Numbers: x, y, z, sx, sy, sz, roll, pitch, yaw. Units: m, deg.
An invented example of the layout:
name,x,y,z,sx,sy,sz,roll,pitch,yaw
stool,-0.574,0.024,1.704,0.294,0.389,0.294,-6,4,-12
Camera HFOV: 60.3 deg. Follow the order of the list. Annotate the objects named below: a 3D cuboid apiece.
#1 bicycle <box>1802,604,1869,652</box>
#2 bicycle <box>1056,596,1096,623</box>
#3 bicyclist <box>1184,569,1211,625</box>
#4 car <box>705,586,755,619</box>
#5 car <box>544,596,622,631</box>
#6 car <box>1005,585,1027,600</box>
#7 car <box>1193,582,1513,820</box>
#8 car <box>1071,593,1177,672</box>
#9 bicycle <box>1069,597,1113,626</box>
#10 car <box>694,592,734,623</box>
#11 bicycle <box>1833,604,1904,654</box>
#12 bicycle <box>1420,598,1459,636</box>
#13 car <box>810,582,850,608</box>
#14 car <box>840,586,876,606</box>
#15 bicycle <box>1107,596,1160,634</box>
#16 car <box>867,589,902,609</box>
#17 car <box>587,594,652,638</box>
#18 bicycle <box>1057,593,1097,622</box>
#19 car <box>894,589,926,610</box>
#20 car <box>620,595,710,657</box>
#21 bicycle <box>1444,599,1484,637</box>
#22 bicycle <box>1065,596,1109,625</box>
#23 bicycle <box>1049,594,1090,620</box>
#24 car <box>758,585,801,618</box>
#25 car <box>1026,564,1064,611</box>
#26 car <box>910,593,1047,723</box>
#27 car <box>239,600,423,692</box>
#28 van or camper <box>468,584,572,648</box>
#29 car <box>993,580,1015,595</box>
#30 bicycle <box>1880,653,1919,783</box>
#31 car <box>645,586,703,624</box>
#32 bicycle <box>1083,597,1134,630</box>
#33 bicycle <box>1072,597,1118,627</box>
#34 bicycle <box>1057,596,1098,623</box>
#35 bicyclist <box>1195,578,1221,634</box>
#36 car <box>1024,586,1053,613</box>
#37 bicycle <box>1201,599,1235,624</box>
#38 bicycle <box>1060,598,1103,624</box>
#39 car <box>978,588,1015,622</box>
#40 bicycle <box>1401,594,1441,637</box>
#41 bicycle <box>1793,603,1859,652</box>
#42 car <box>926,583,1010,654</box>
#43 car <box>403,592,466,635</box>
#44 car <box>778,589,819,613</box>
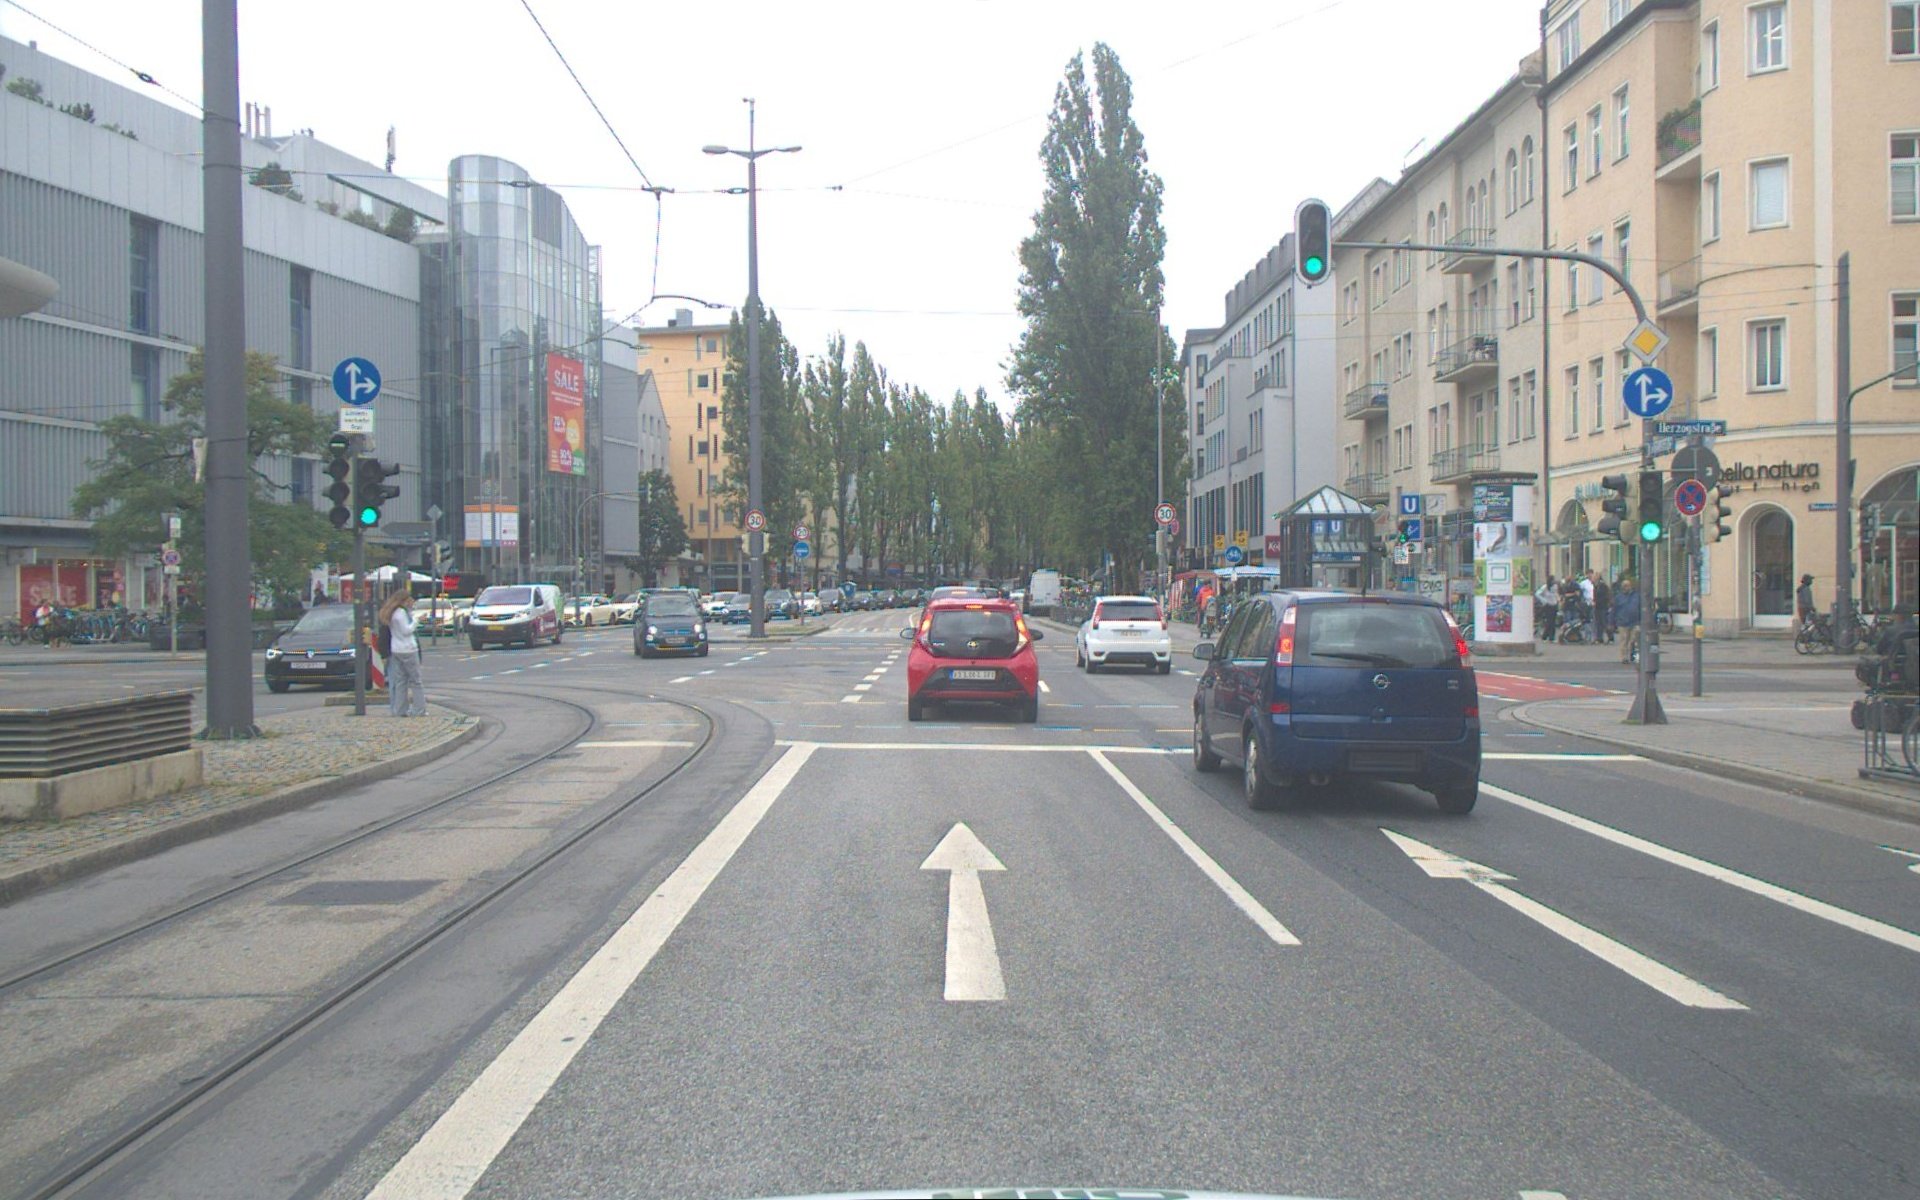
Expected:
name,x,y,z,sx,sy,sz,roll,pitch,yaw
bicycle,19.513,0.620,36.861,1.552,1.051,0.247,-1,0,-15
bicycle,5.086,0.401,72.489,1.805,1.156,0.583,0,1,42
bicyclist,8.195,-0.094,57.049,0.747,1.902,1.133,-1,0,0
car,-11.119,0.100,80.106,1.954,1.436,4.166,3,0,-3
car,-17.353,0.595,76.353,1.951,1.534,4.638,-1,0,8
car,6.722,-0.900,197.632,1.951,1.721,4.418,-1,1,12
car,2.943,0.679,13.115,1.668,1.617,3.556,1,0,0
car,3.174,0.600,32.588,1.665,1.451,3.496,-1,0,-1
bicycle,5.177,0.460,65.478,1.773,1.130,0.583,0,1,42
car,-13.325,0.391,89.855,1.664,1.624,3.999,-1,0,-2
bicycle,19.914,0.635,36.264,1.552,1.051,0.356,-1,0,-15
bicycle,12.963,0.450,44.766,0.484,0.992,1.866,-1,0,0
car,-8.826,-0.343,112.697,1.895,1.769,4.591,0,0,6
car,-7.679,-0.277,125.079,1.805,1.407,4.604,0,0,8
bicycle,5.688,0.498,54.341,1.773,1.219,0.555,0,1,43
car,-6.091,-0.095,133.786,1.951,1.561,4.591,-1,0,9
car,-12.525,0.563,61.004,1.631,1.535,4.280,-1,0,-2
bicycle,5.170,0.345,73.156,1.805,1.263,0.583,0,1,42
car,-4.335,-0.005,143.483,1.951,1.721,4.925,0,-1,8
car,-7.360,0.620,41.066,1.523,1.471,3.516,0,0,-22
bicycle,13.628,0.468,44.779,0.484,0.992,1.866,-1,0,0
bicycle,5.129,0.419,66.806,1.805,1.188,0.583,0,1,42
bicycle,4.995,0.325,75.414,1.801,1.156,0.584,0,0,36
car,-9.953,0.070,91.648,1.707,1.699,4.733,-1,1,2
car,5.114,-0.744,100.016,2.063,2.766,4.804,-1,0,0
car,0.229,0.675,20.966,1.572,1.487,3.130,1,0,0
car,-10.796,0.747,28.701,1.806,1.441,4.033,-1,0,-3
van or camper,-13.495,0.456,51.022,1.889,1.858,5.439,-1,0,-2
car,5.436,-1.532,204.259,1.951,1.721,4.418,-1,1,12
bicycle,8.138,0.924,12.729,1.811,1.013,0.345,-1,0,44
car,-15.891,0.313,92.138,1.952,2.049,5.525,0,-1,4
bicycle,5.366,0.476,59.915,1.768,1.178,0.650,0,0,36
bicycle,5.218,0.471,64.051,1.772,1.130,0.559,0,1,42
bicycle,5.111,0.399,71.728,1.805,1.156,0.583,0,1,42
bicyclist,7.587,0.173,50.665,0.601,1.686,1.251,-1,0,0
car,5.032,-0.028,106.149,1.668,1.691,3.556,0,0,0
bicycle,9.951,0.444,63.818,1.266,0.931,0.369,-1,0,0
bicycle,5.052,0.459,68.995,1.805,1.070,0.583,0,1,42
car,2.034,0.274,92.754,1.953,1.870,3.999,-1,0,-1
bicycle,12.471,0.416,44.779,0.555,1.127,1.866,-1,0,-1
bicycle,19.430,0.616,37.114,1.552,1.051,0.247,-1,0,-15
car,0.158,0.428,40.699,1.953,1.646,3.999,-1,0,-1
car,-20.715,0.505,65.303,1.959,1.563,4.400,-2,1,-13
car,-9.898,0.064,101.642,1.728,1.446,4.641,0,0,4
